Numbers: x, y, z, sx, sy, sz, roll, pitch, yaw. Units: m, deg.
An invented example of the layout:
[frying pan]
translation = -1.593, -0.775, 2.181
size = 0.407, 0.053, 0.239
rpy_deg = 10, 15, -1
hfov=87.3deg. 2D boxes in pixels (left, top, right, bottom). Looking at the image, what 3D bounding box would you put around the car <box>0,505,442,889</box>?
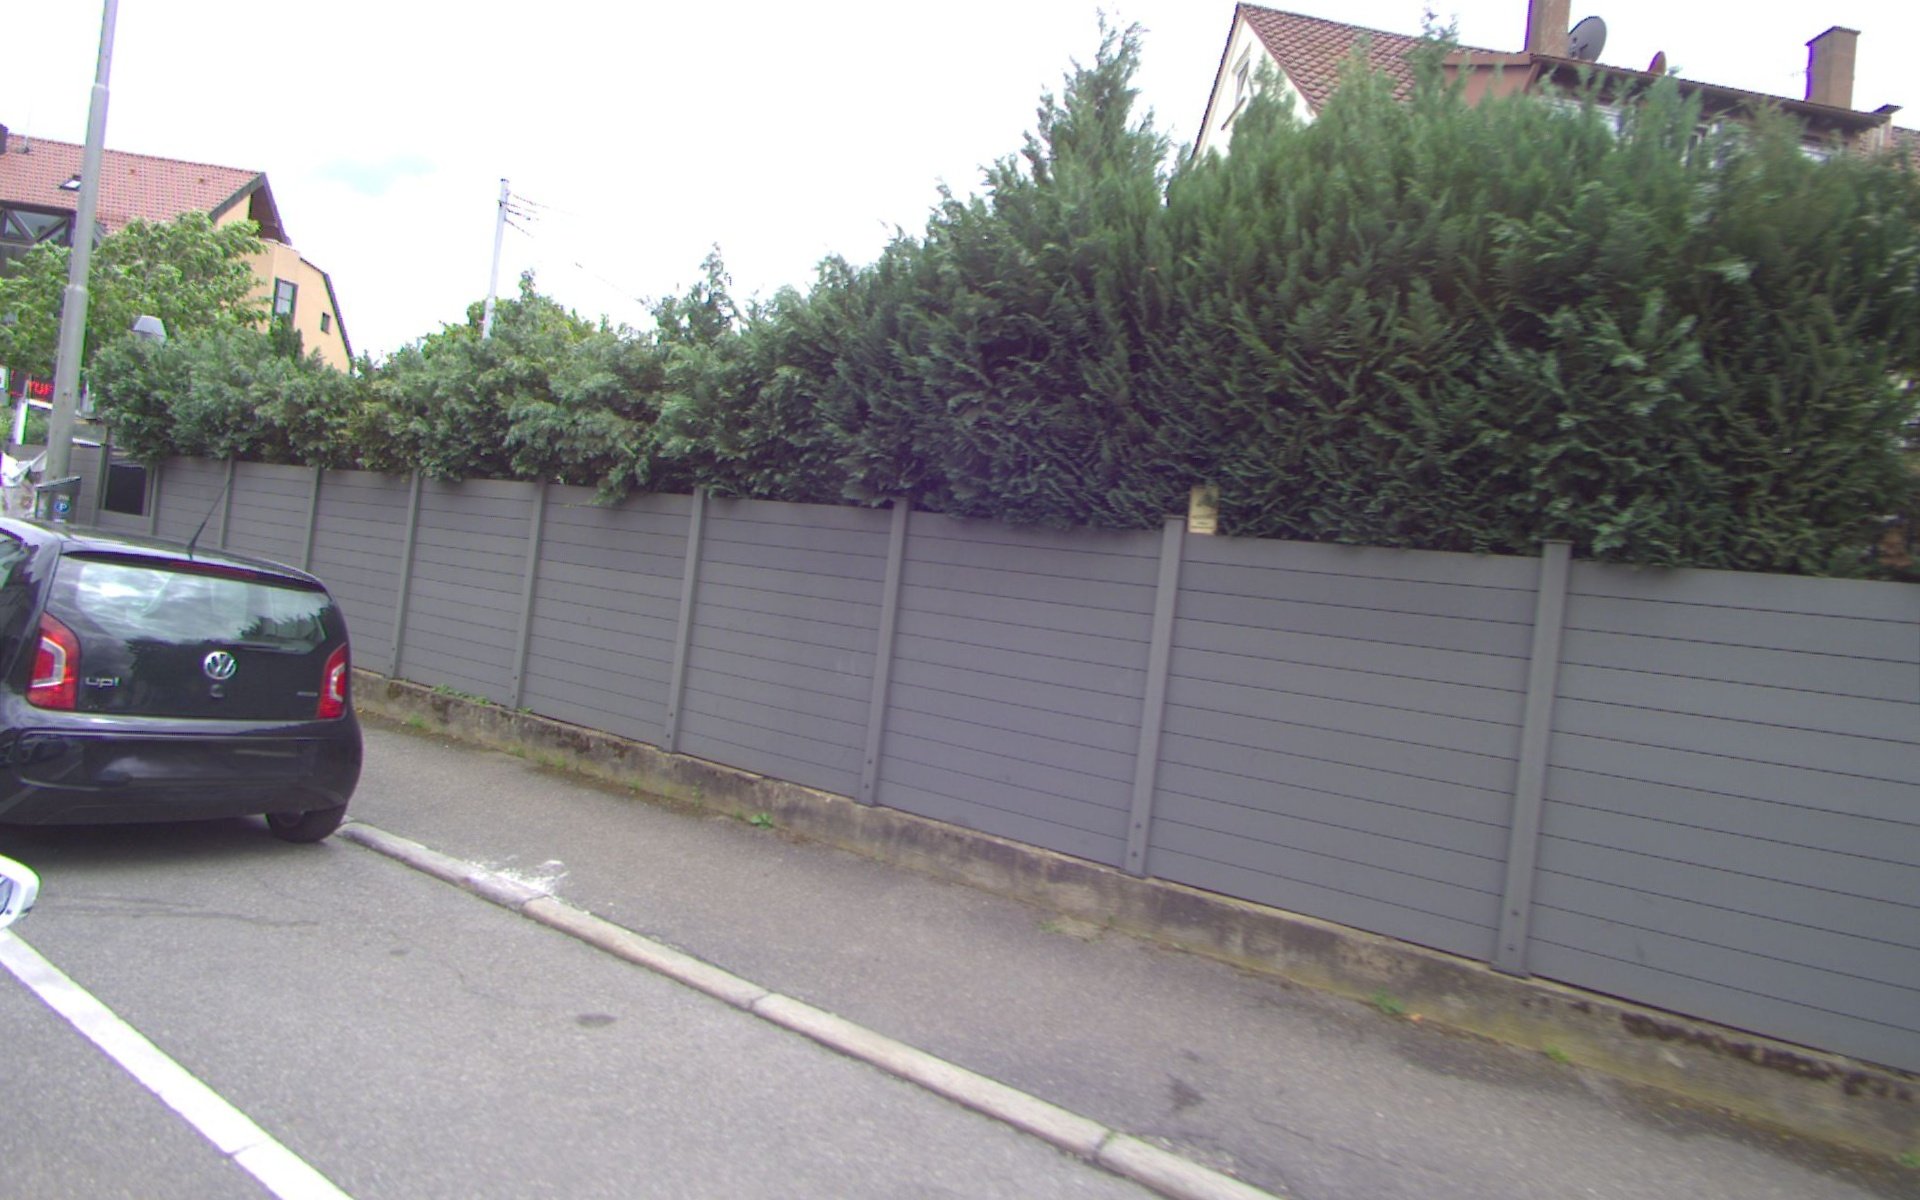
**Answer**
[car]
translation = -4.978, 0.264, 5.565
size = 3.931, 1.469, 1.762
rpy_deg = 7, -1, 29
